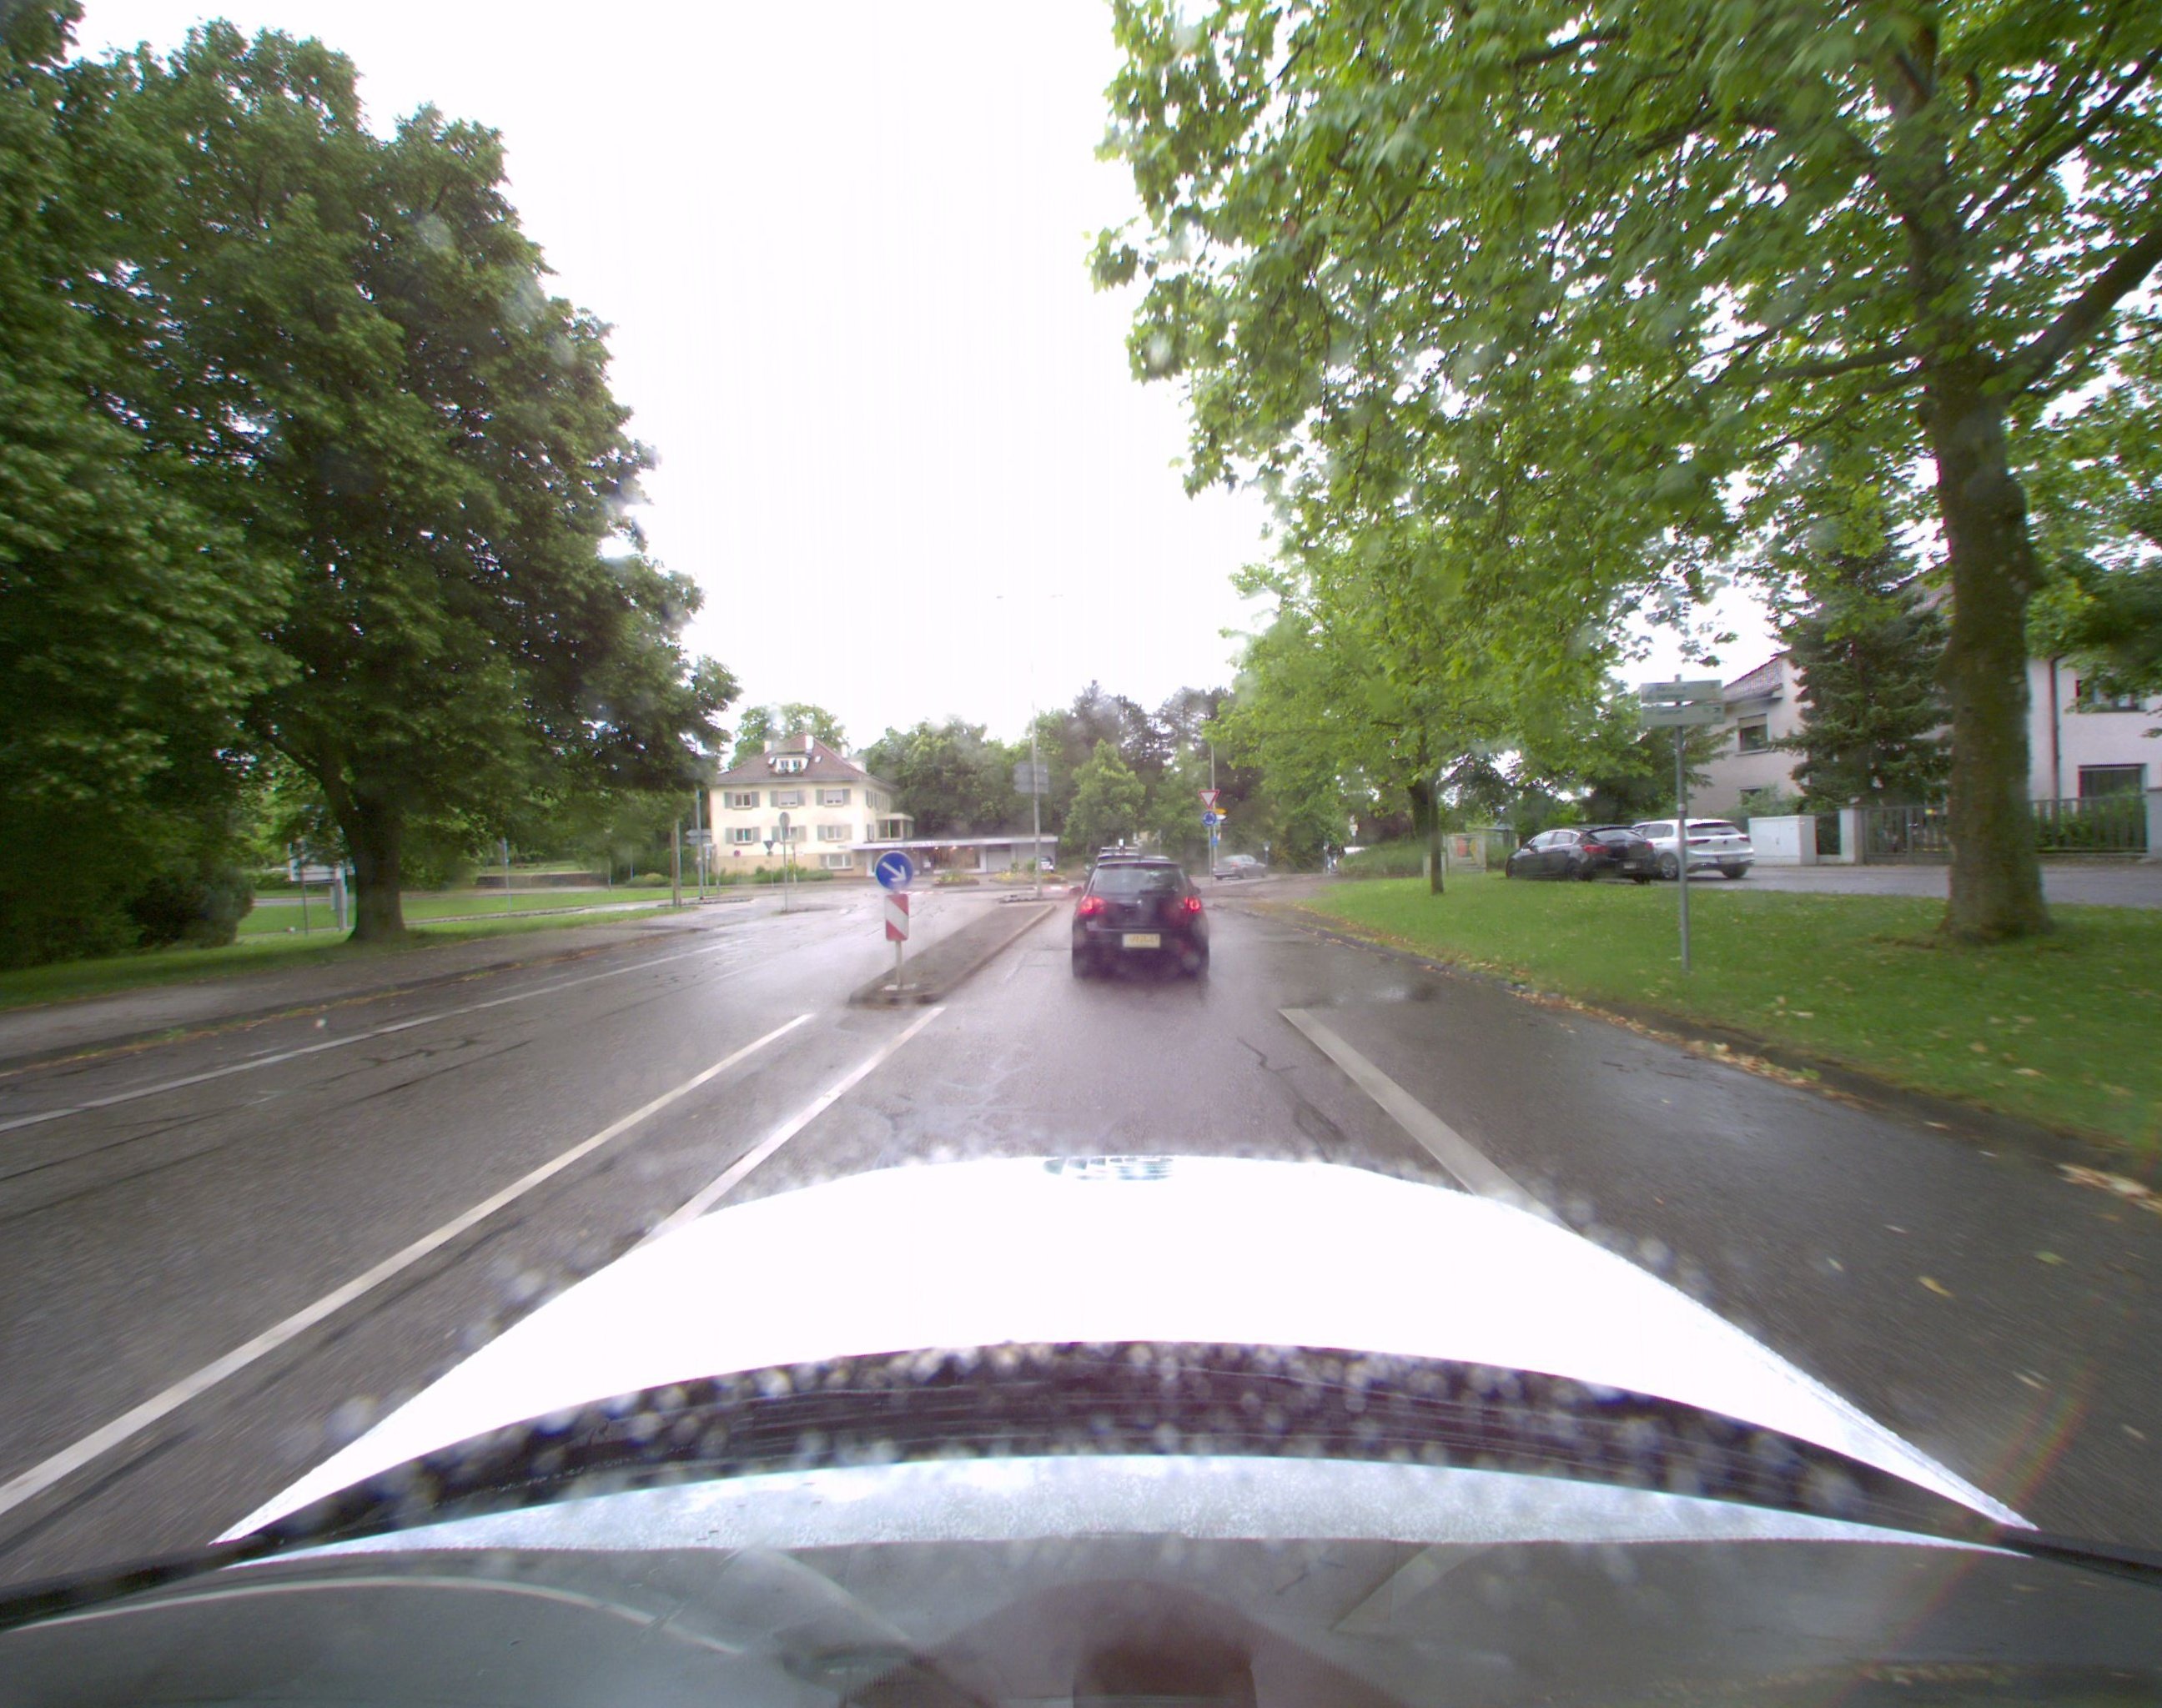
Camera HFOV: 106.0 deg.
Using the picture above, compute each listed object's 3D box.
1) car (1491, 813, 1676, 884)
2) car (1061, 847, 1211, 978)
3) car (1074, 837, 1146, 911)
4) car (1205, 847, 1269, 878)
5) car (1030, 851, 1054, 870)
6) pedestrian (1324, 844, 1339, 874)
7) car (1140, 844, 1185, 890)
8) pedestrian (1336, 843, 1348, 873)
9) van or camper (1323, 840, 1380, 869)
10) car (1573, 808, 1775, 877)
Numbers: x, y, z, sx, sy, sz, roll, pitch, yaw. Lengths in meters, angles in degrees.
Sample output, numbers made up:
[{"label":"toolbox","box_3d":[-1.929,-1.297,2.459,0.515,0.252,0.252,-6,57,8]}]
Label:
[{"label":"car","box_3d":[12.435,-0.098,20.559,1.759,1.471,4.597,-4,-1,0]},{"label":"car","box_3d":[0.861,0.691,11.643,1.756,1.538,4.007,-1,0,6]},{"label":"car","box_3d":[0.757,0.535,23.017,1.759,1.801,4.245,-3,-1,0]},{"label":"car","box_3d":[9.064,0.492,47.046,1.974,1.684,4.058,-1,-1,38]},{"label":"car","box_3d":[-3.341,0.529,69.110,1.810,1.486,3.823,-3,0,-5]},{"label":"pedestrian","box_3d":[14.292,0.278,46.470,0.528,1.713,0.633,0,-1,-13]},{"label":"car","box_3d":[3.571,0.559,35.838,1.756,1.801,4.252,-3,-1,5]},{"label":"pedestrian","box_3d":[15.104,0.224,47.149,0.629,1.713,0.532,-1,-1,17]},{"label":"van or camper","box_3d":[22.933,0.054,68.974,5.701,2.378,2.174,0,-1,-44]},{"label":"car","box_3d":[14.885,-0.240,20.812,1.840,1.471,4.424,-3,-1,-1]}]
